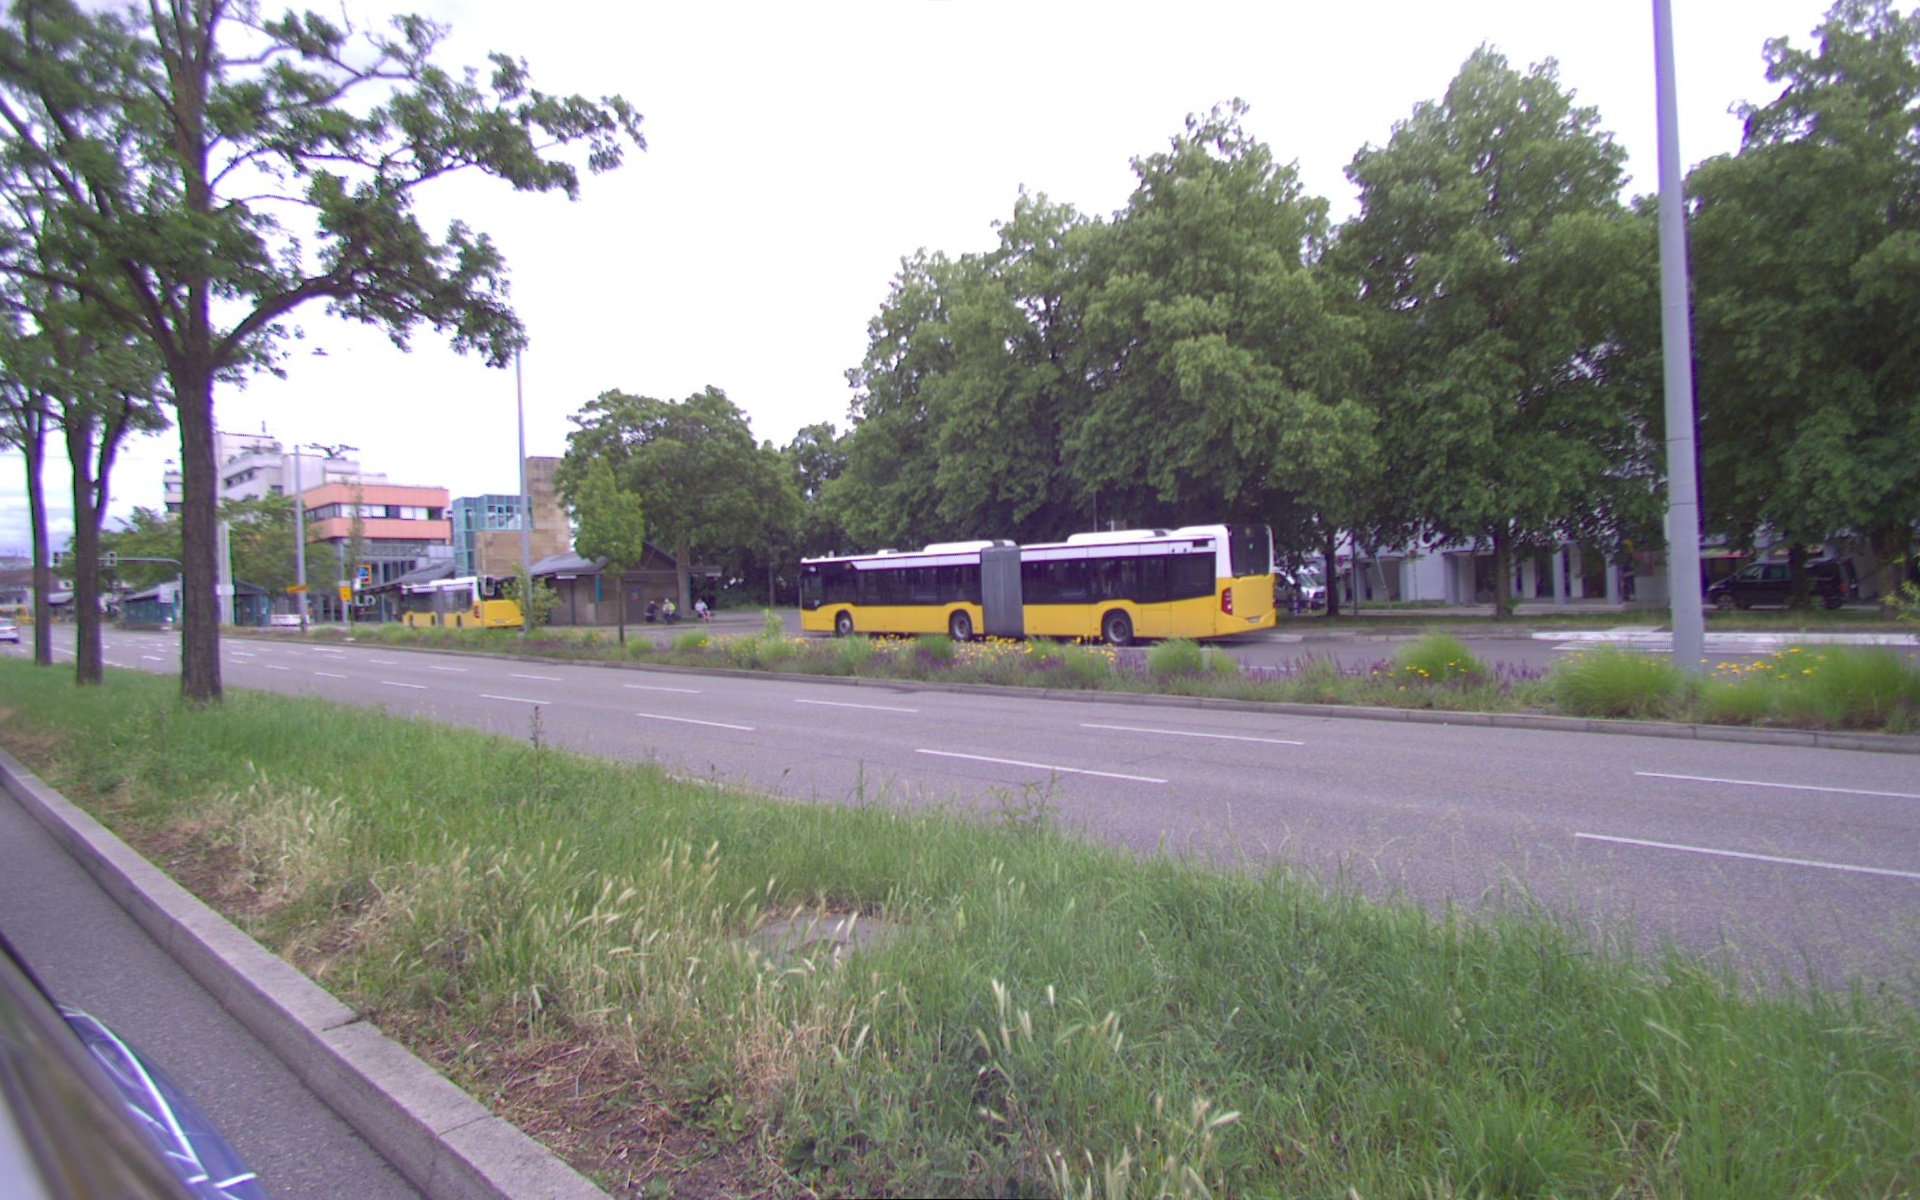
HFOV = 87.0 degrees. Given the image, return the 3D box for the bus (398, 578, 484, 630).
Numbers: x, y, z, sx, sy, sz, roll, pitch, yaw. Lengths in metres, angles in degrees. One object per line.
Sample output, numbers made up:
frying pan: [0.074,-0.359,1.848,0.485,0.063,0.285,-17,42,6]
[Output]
bus: [-32.792,0.326,63.720,2.846,3.025,9.191,-1,0,-39]

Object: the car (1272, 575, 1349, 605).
car: [20.541,-0.566,59.452,1.751,1.652,4.012,-1,-1,-31]

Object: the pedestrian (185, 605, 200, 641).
pedestrian: [-59.828,1.792,78.874,0.889,2.809,1.150,-1,0,-36]

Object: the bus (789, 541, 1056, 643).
bus: [-1.643,-0.149,34.512,2.848,3.025,10.401,-1,0,-44]

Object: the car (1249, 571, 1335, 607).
car: [17.132,-0.567,52.424,1.663,1.763,4.010,-1,0,-35]

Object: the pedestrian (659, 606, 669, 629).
pedestrian: [-15.176,0.884,51.852,0.361,1.175,0.900,-1,0,-23]

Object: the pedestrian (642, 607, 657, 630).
pedestrian: [-16.386,0.967,53.420,0.590,1.171,0.745,-1,0,-31]

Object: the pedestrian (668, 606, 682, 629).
pedestrian: [-14.652,0.893,52.005,0.589,1.171,0.745,-1,0,-23]

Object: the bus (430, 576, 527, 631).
bus: [-27.180,0.230,56.857,2.845,2.830,9.192,-1,0,-39]

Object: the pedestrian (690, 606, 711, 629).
pedestrian: [-13.493,0.886,52.637,0.924,1.180,0.641,-1,0,41]

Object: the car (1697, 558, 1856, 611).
car: [31.503,-0.566,39.171,1.758,1.861,4.429,-1,0,-35]

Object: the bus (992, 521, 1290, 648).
bus: [4.710,-0.305,27.903,2.848,3.025,7.889,-1,0,-44]

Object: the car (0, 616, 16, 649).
car: [-61.565,2.104,64.553,4.000,2.029,1.703,-2,0,43]
